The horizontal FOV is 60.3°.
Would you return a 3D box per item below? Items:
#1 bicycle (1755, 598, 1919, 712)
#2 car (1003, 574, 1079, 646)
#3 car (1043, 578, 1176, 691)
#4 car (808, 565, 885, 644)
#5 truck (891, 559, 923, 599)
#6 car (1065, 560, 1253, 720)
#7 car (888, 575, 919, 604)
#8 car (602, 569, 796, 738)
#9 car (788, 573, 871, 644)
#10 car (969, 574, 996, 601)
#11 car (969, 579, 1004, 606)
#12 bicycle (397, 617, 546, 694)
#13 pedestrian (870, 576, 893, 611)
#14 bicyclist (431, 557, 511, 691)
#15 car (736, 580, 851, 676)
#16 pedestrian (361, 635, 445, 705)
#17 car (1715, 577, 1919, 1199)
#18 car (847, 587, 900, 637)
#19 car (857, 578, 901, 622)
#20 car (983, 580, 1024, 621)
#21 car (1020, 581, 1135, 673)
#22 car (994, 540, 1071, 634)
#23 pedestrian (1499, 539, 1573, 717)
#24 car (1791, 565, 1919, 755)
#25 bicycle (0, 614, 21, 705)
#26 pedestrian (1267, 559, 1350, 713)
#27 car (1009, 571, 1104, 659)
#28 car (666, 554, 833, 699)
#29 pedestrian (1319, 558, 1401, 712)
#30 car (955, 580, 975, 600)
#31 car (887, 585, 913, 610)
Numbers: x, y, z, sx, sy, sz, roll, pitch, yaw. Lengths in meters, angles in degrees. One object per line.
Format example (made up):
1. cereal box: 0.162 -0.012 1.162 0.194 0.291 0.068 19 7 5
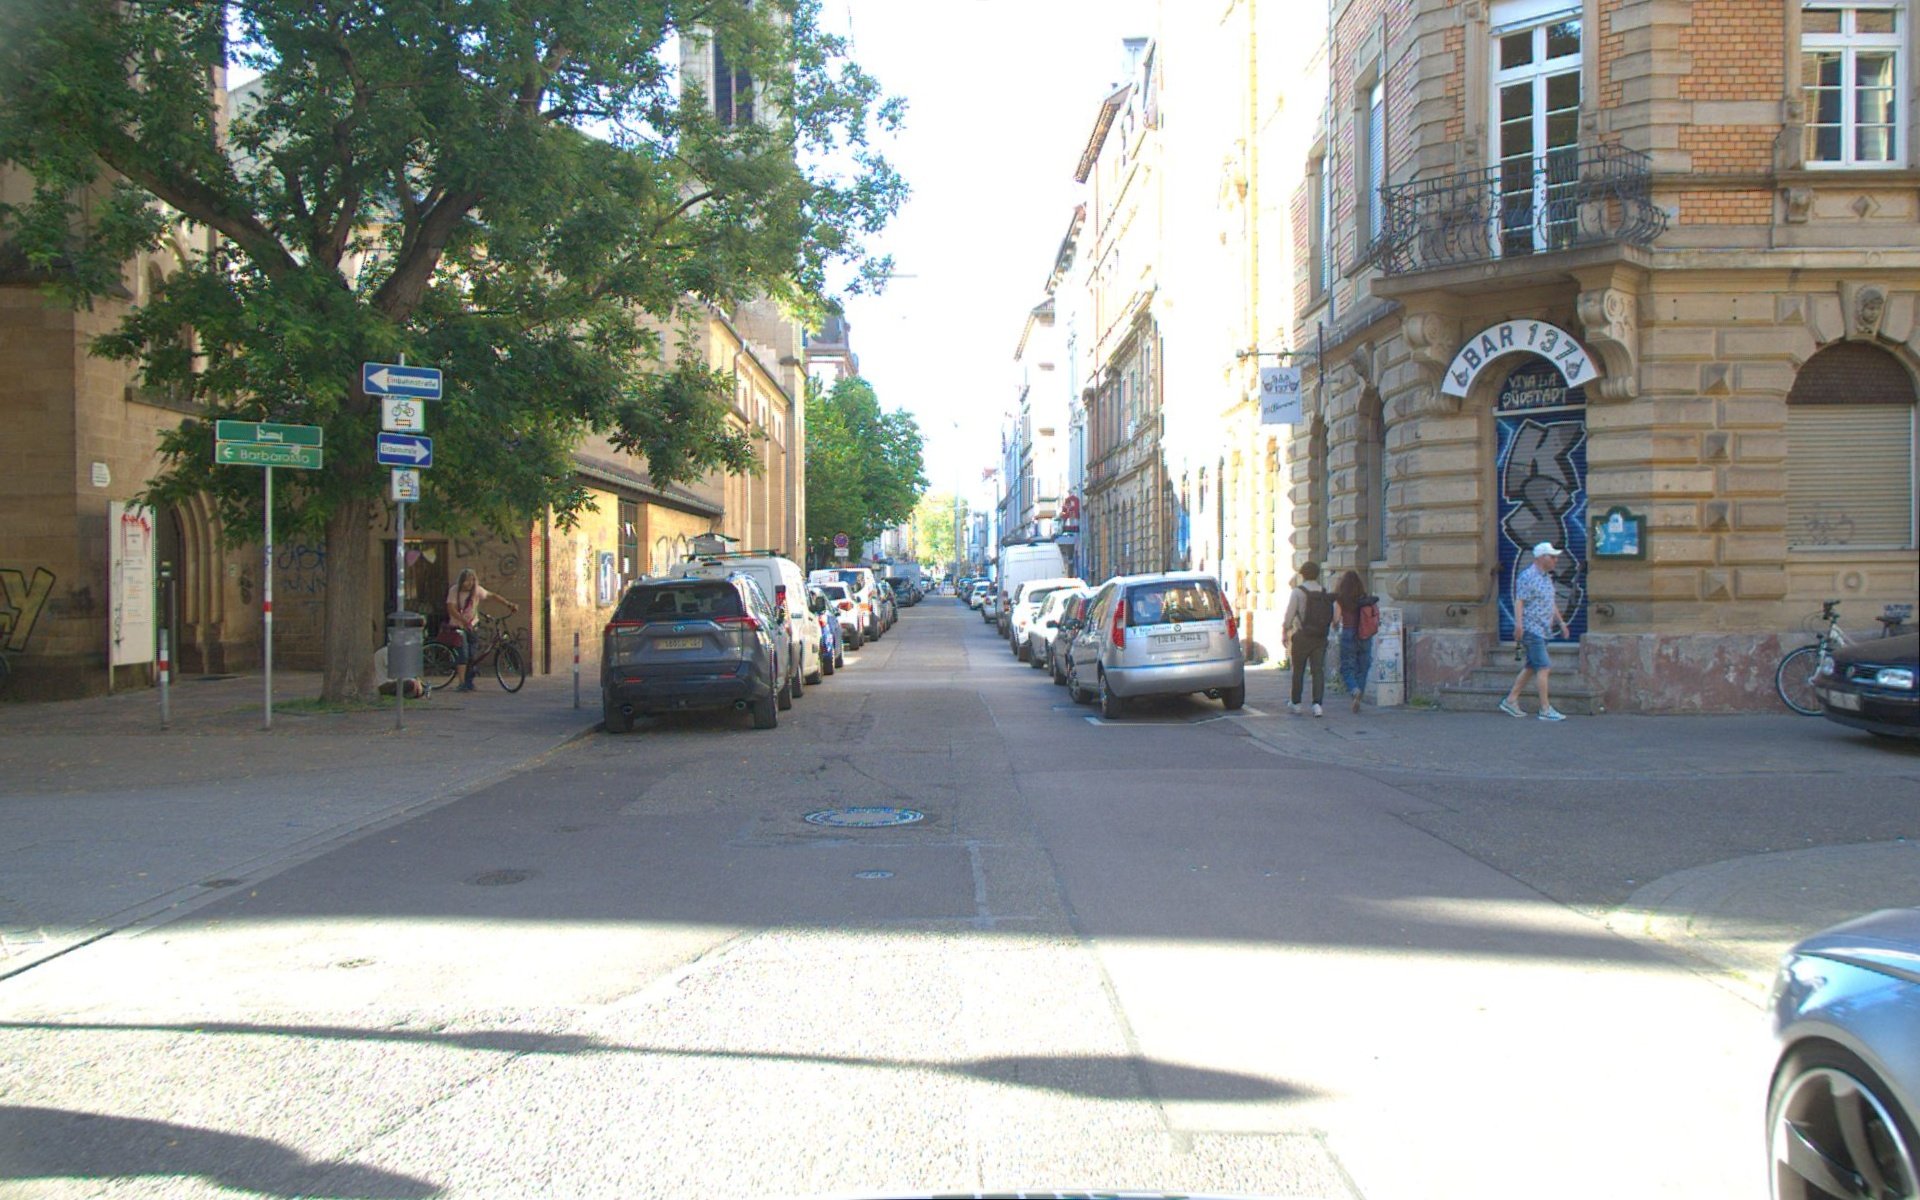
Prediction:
1. bicycle: 9.009 0.545 16.650 1.739 1.073 0.534 -1 1 -2
2. car: 1.983 0.209 41.379 1.653 1.671 3.924 -1 1 -1
3. car: 2.198 0.461 25.153 1.504 1.539 3.680 -2 1 -2
4. car: -3.096 0.083 45.861 1.826 1.991 4.609 -3 1 -1
5. truck: -4.600 -1.858 144.478 2.480 3.339 6.994 -1 1 0
6. car: 2.368 0.418 20.556 1.669 1.744 3.936 -2 1 -2
7. car: -3.622 -0.678 106.416 1.837 1.827 4.000 -1 1 0
8. car: -2.862 0.510 18.961 1.706 1.675 4.287 -1 1 -3
9. car: -3.104 0.180 39.976 1.707 1.614 3.868 -1 1 0
10. car: 1.548 -0.873 114.871 1.733 1.771 4.000 -1 1 0
11. car: 1.488 -0.444 94.423 1.859 1.514 3.869 -1 1 0
12. bicycle: -6.587 0.732 22.346 1.724 0.939 0.827 2 1 8
13. pedestrian: -4.265 -0.355 89.718 0.769 1.875 1.009 0 1 34
14. bicyclist: -6.599 0.312 22.343 0.788 1.753 0.692 2 1 8
15. car: -2.913 0.450 29.630 1.653 1.502 3.860 -3 1 -1
16. pedestrian: -6.882 0.851 20.421 0.904 0.792 0.697 -2 1 -25
17. car: 2.594 0.724 1.571 1.671 1.484 4.511 0 1 0
18. car: -2.963 0.378 57.139 1.639 1.586 3.999 -2 1 -1
19. car: -3.236 -0.028 66.808 1.568 1.642 3.807 -3 1 -1
20. car: 1.695 -0.001 65.589 1.570 1.531 4.001 0 1 1
21. car: 2.118 0.446 30.622 1.541 1.551 3.905 1 1 -4
22. car: 2.118 -0.426 49.838 2.026 2.656 5.887 0 1 0
23. pedestrian: 5.858 0.277 16.840 0.648 1.763 0.576 -2 1 19
24. car: 9.419 0.436 14.002 3.899 1.477 1.733 -1 1 0
25. bicycle: -12.447 0.738 20.111 1.739 1.073 0.478 -1 1 -2
26. pedestrian: 3.826 0.383 18.193 0.581 1.631 0.724 -2 1 -15
27. car: 1.989 0.291 35.163 1.771 1.719 4.214 1 0 0
28. car: -2.968 0.310 24.206 1.807 1.894 4.465 -1 1 0
29. pedestrian: 4.441 0.375 18.400 0.564 1.650 0.731 -2 1 -15
30. car: 0.503 -1.069 170.627 1.953 2.049 4.000 -1 1 0
31. car: -4.651 -0.194 127.769 1.838 1.827 3.997 -1 1 -4
